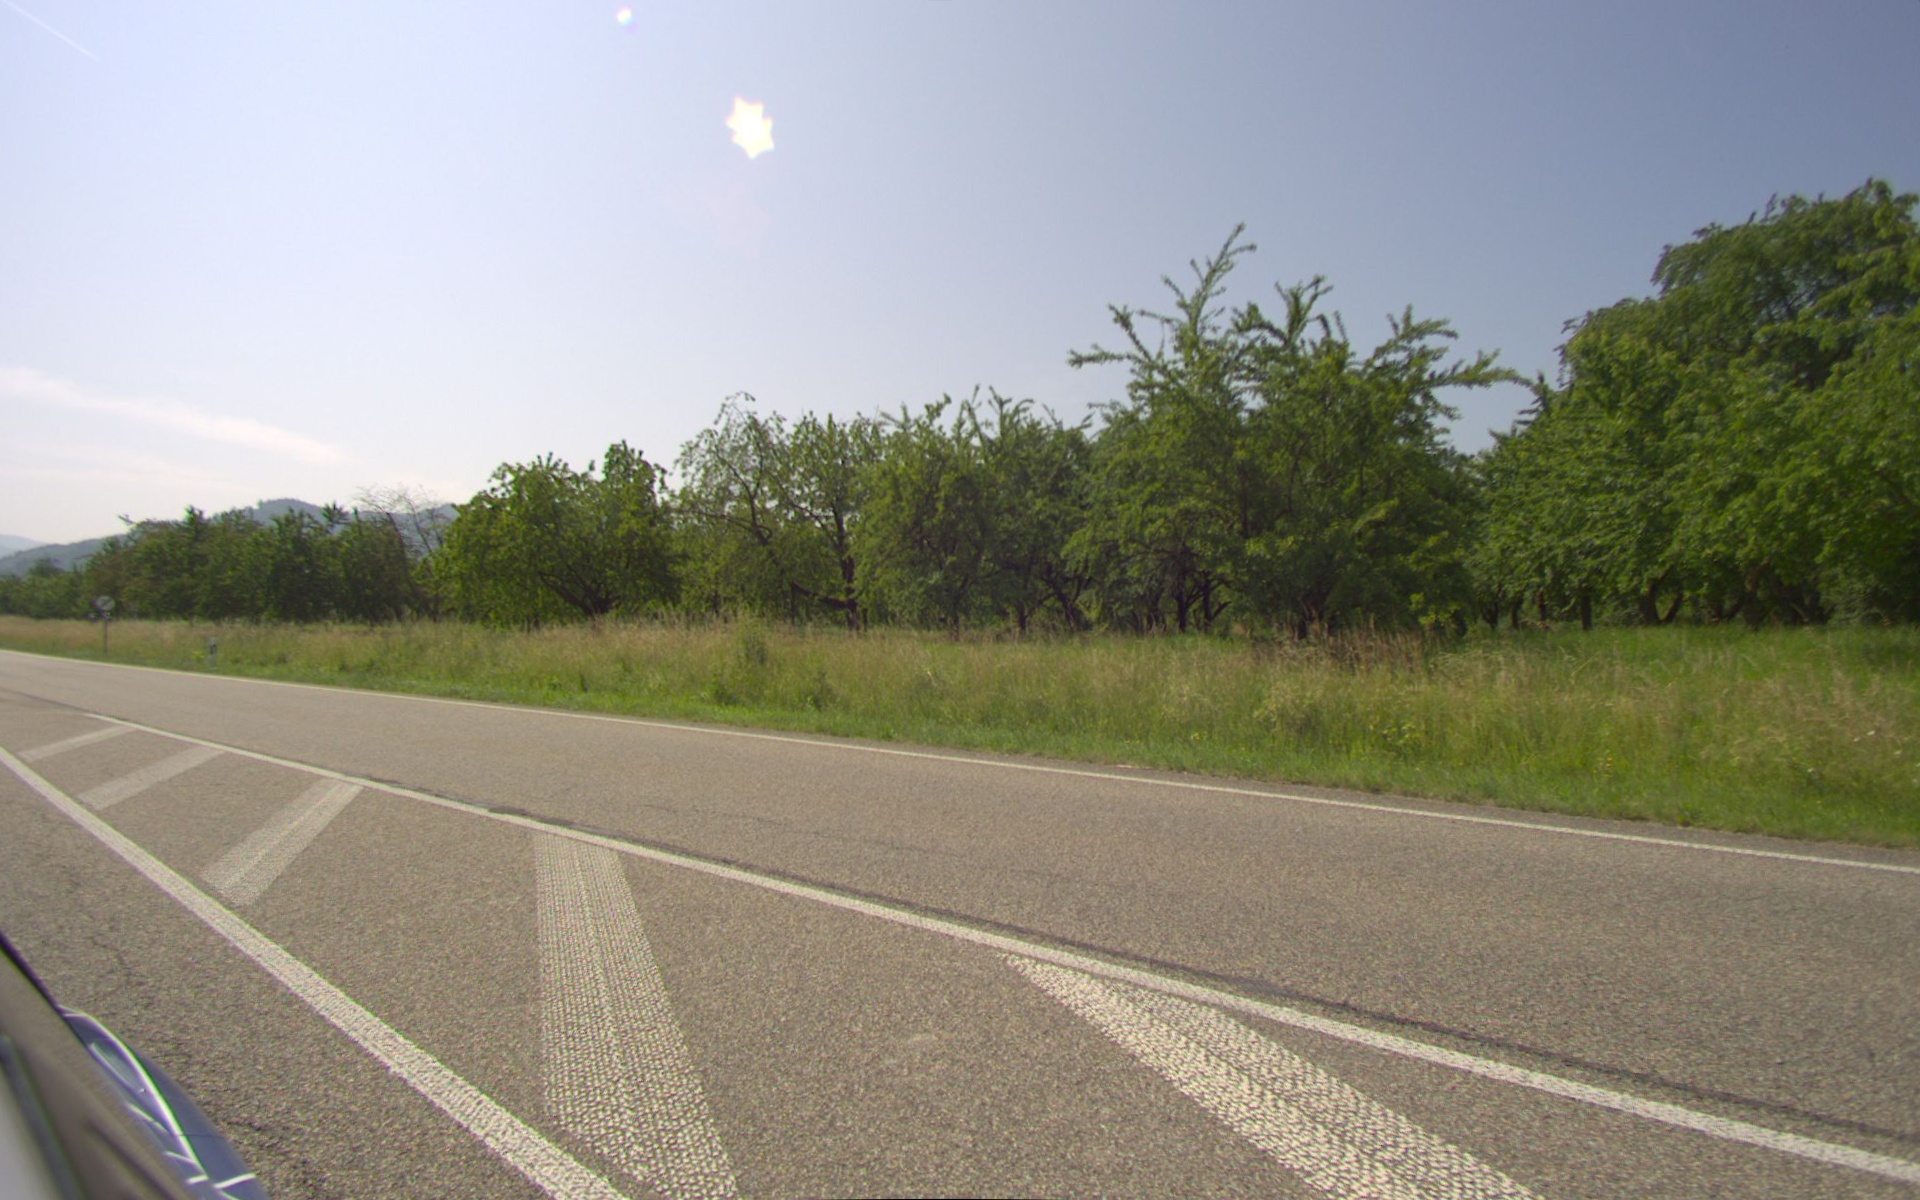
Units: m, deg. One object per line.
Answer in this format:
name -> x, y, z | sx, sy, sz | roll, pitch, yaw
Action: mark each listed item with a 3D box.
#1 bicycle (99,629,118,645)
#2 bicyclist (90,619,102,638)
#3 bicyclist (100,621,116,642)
bicycle -> -59.911, 2.596, 71.164 | 2.225, 0.997, 0.732 | 0, 0, 42
bicyclist -> -67.211, 2.219, 78.713 | 0.863, 1.425, 0.634 | 0, 0, 42
bicyclist -> -59.913, 2.230, 71.168 | 0.863, 1.466, 0.732 | 0, 0, 42
